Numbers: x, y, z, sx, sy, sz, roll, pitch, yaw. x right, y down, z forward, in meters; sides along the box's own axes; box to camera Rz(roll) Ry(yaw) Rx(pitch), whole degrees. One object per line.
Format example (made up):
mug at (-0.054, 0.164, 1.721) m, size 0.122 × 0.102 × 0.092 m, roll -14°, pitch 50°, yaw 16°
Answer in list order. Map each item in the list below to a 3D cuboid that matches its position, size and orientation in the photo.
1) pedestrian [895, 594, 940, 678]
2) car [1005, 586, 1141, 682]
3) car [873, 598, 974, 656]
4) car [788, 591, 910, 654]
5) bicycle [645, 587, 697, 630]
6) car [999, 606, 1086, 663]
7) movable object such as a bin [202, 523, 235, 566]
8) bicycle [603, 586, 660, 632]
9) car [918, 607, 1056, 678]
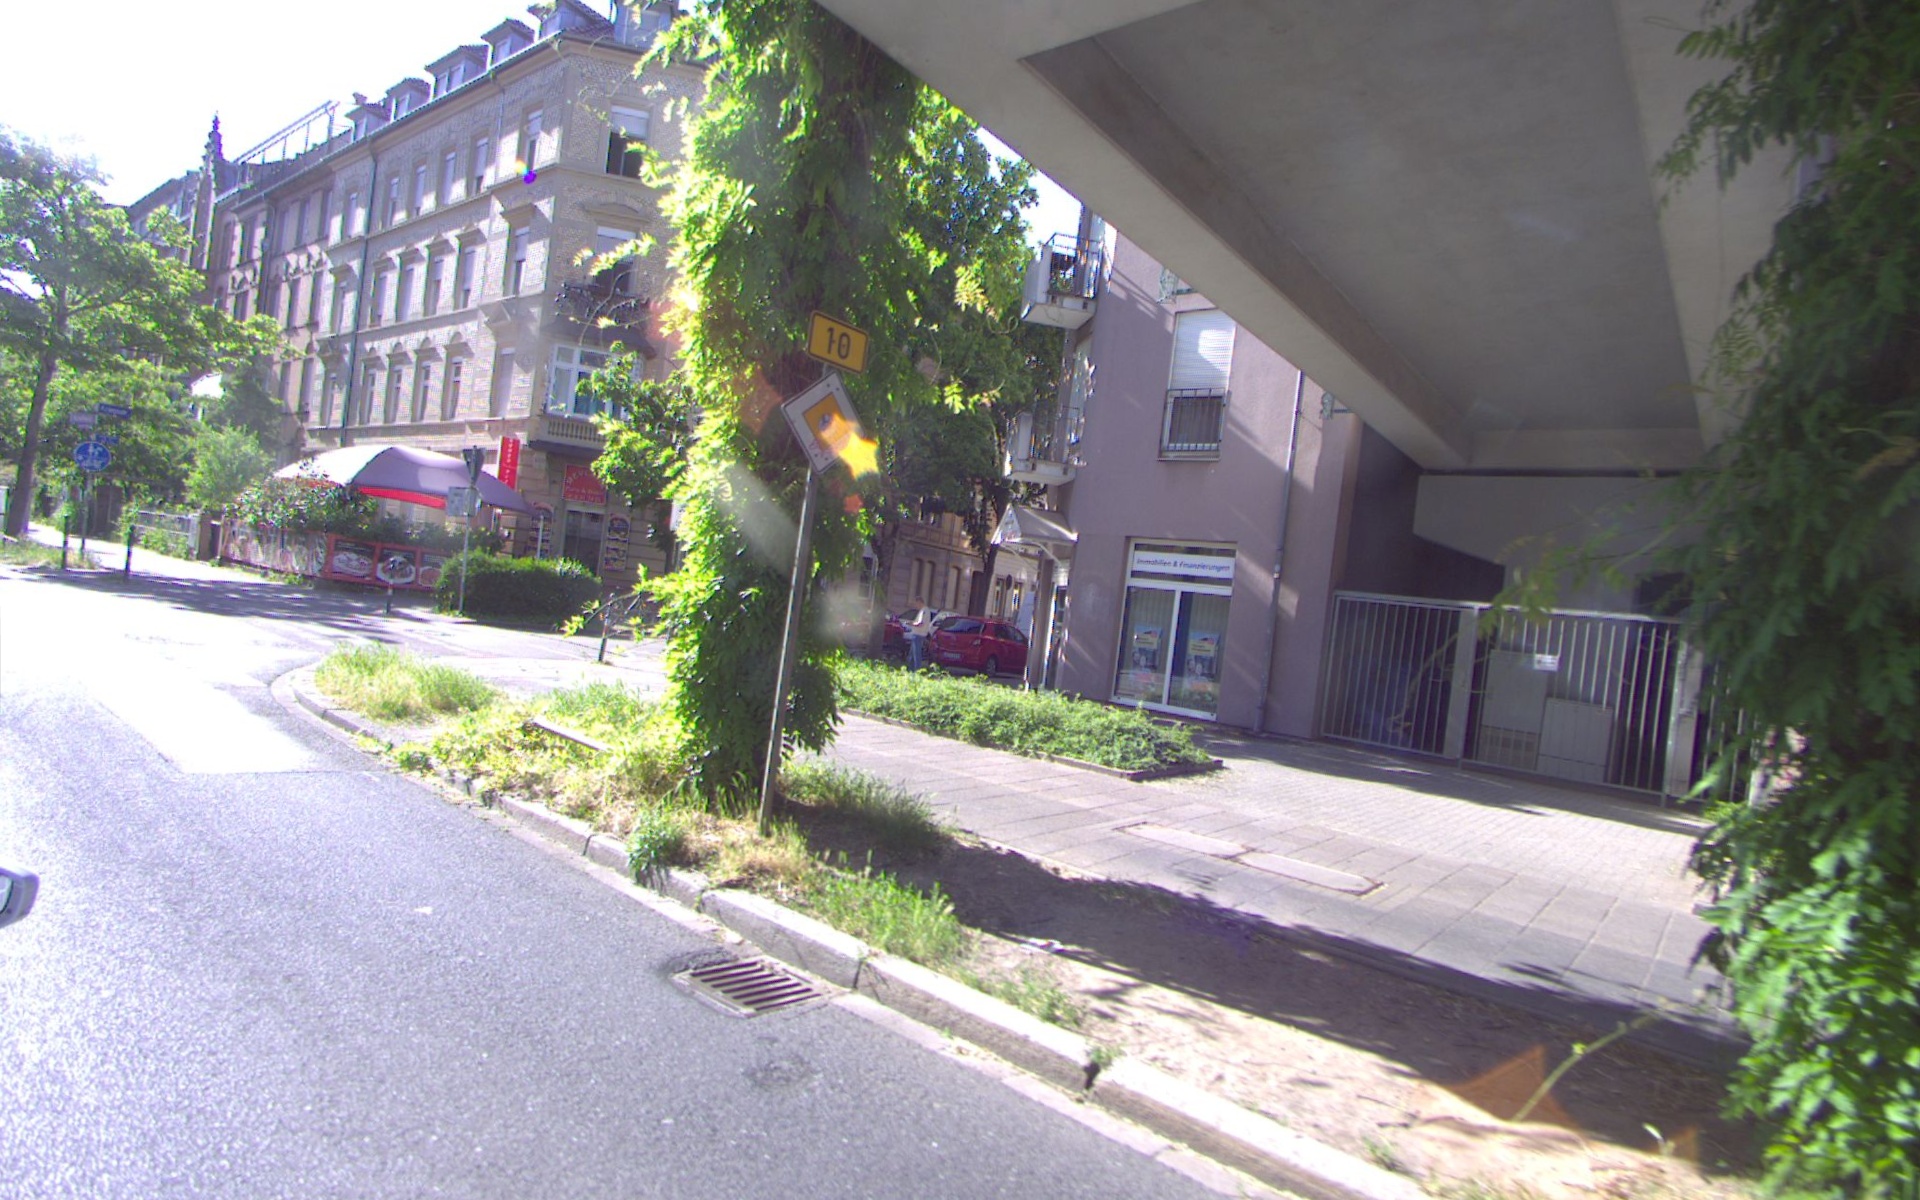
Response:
pedestrian at (-0.856, 0.707, 20.138) m, size 0.525 × 1.596 × 0.630 m, roll 6°, pitch 1°, yaw -26°
car at (3.558, 1.108, 30.674) m, size 2.182 × 2.481 × 5.088 m, roll 7°, pitch 0°, yaw 28°
car at (-1.247, 1.004, 36.095) m, size 1.665 × 1.614 × 3.997 m, roll 7°, pitch -2°, yaw 29°
car at (-3.470, 0.759, 32.161) m, size 1.748 × 1.458 × 3.997 m, roll 10°, pitch 0°, yaw 29°
bicycle at (-7.434, 0.233, 25.917) m, size 0.386 × 0.986 × 1.311 m, roll 7°, pitch 0°, yaw 29°
car at (3.723, 1.566, 44.581) m, size 1.963 × 2.053 × 4.298 m, roll 7°, pitch -2°, yaw 30°
movable object such as a bin at (-21.551, -1.618, 29.237) m, size 0.544 × 1.147 × 0.567 m, roll 7°, pitch 1°, yaw 40°
bicycle at (-7.924, 0.226, 24.336) m, size 0.386 × 0.986 × 1.311 m, roll 7°, pitch 0°, yaw 29°
car at (0.770, 1.132, 25.595) m, size 1.664 × 1.480 × 3.993 m, roll 7°, pitch 0°, yaw 30°
